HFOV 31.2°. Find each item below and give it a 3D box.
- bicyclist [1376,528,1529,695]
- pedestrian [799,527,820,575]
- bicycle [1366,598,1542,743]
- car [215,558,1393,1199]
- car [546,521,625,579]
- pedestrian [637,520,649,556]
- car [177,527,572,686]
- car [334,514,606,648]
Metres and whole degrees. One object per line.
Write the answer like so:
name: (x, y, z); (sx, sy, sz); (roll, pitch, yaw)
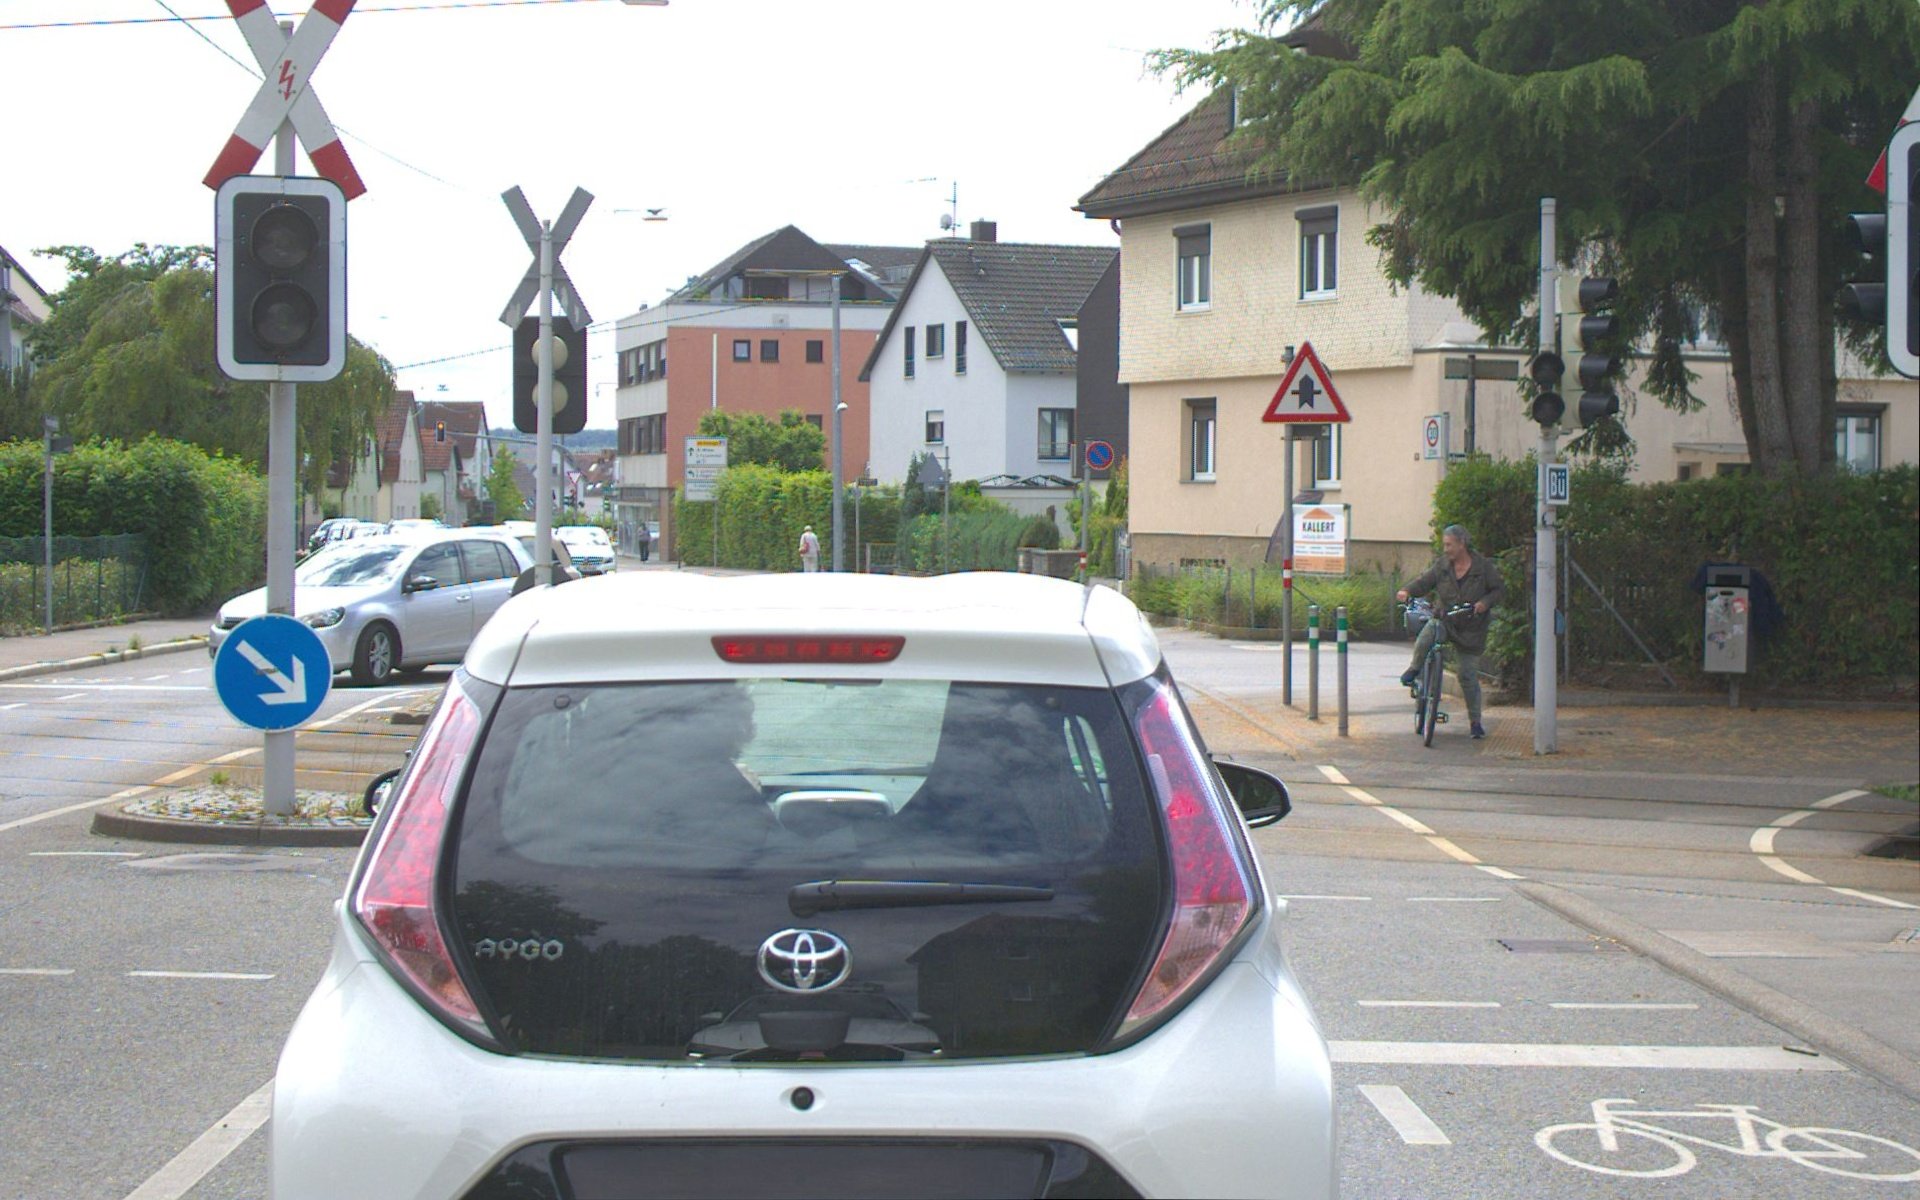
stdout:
bicyclist: (3.770, 0.075, 26.255); (0.933, 1.243, 1.101); (0, 1, 21)
pedestrian: (-4.487, -1.462, 102.521); (0.436, 1.433, 0.414); (0, 2, -36)
bicycle: (3.805, 0.520, 26.353); (0.933, 1.037, 1.913); (0, 1, 21)
car: (-0.240, 0.669, 6.752); (1.621, 1.481, 4.000); (0, 1, -1)
car: (-10.486, -1.412, 96.082); (1.774, 1.556, 4.171); (0, 1, -12)
pedestrian: (-12.799, -2.505, 138.879); (0.413, 1.433, 0.438); (1, 1, -11)
car: (-5.787, 0.021, 34.447); (1.691, 1.453, 4.063); (2, 2, 30)
car: (-5.771, -0.213, 40.601); (1.579, 1.505, 2.781); (2, 1, 42)
